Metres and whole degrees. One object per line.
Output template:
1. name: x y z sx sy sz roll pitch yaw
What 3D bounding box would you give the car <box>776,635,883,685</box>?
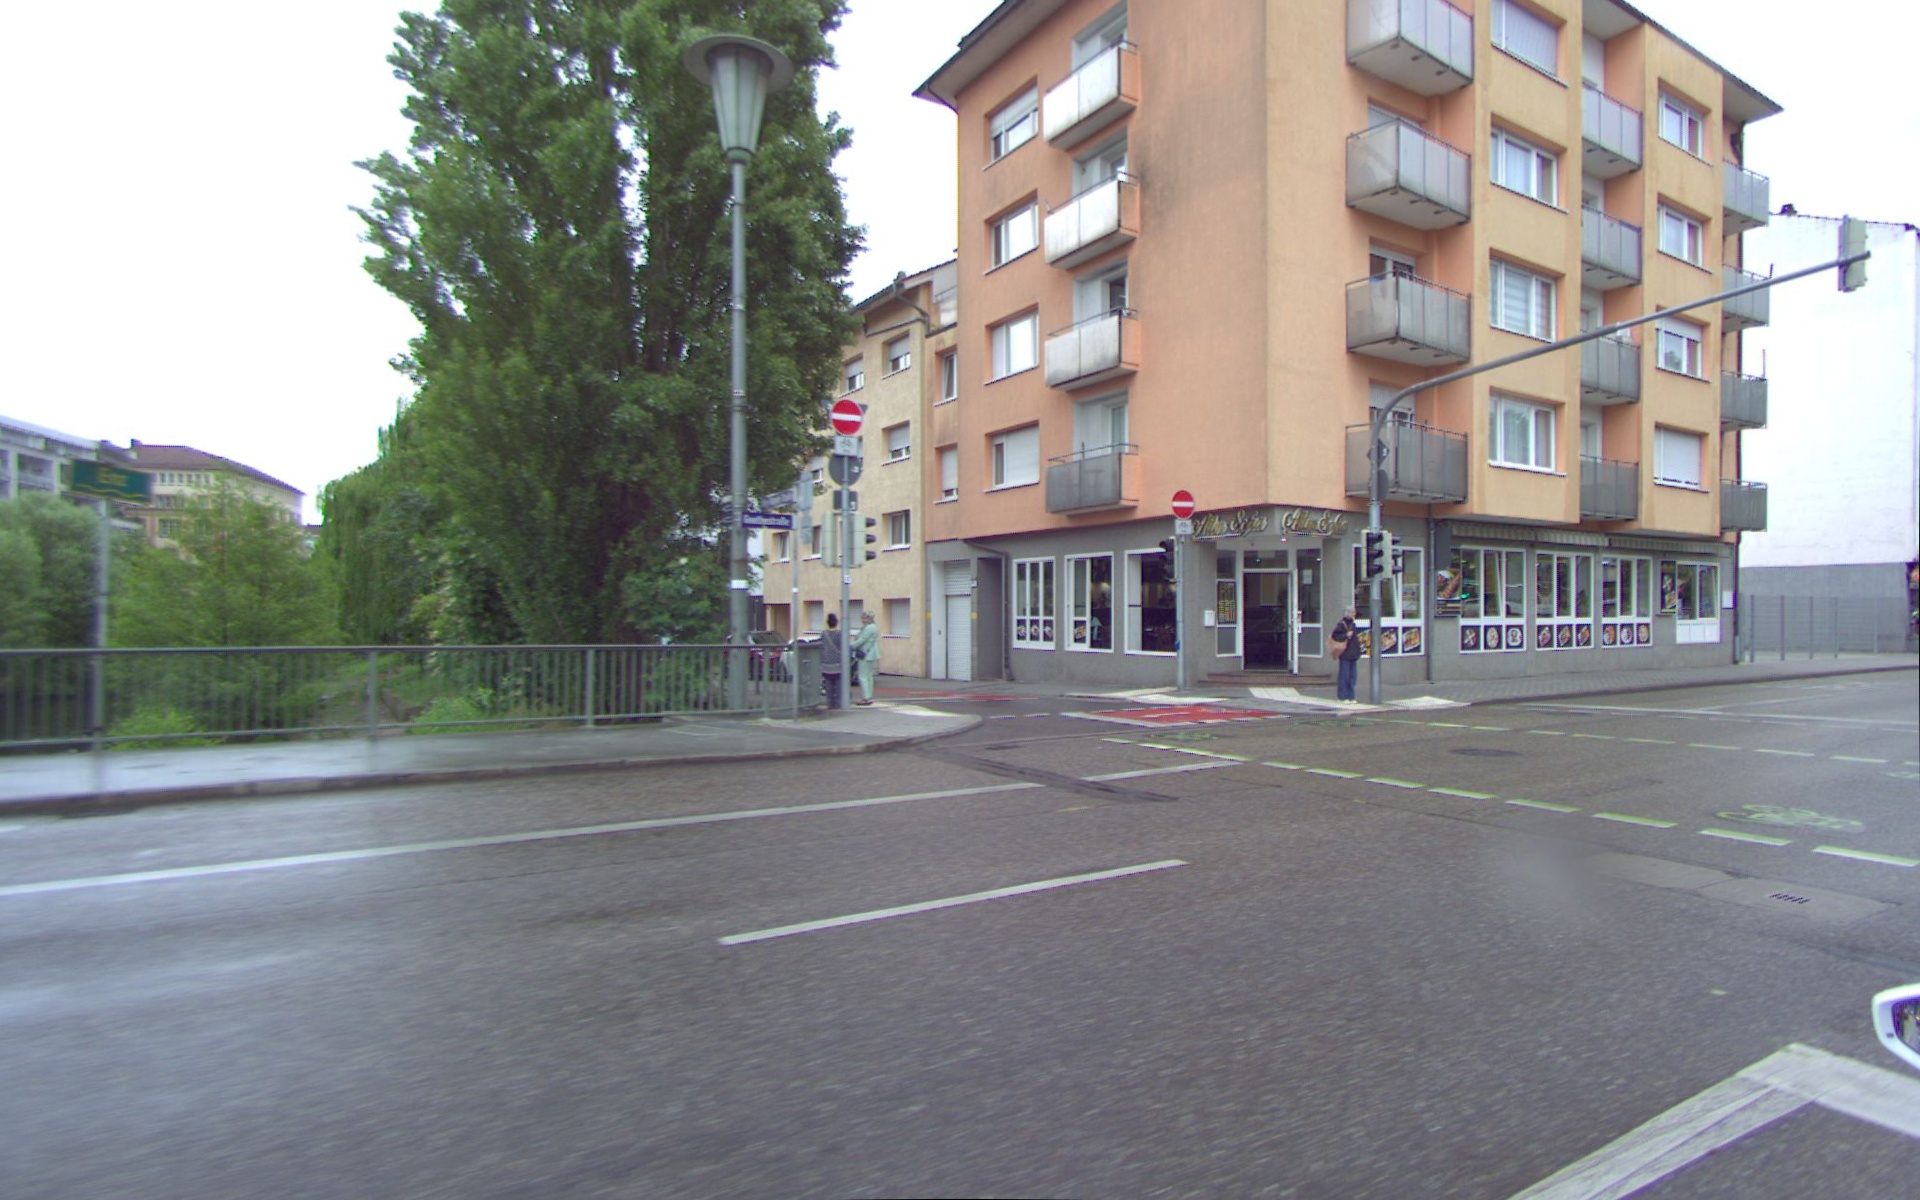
1. car: -4.092 1.793 31.044 1.877 1.406 3.968 0 -2 -31

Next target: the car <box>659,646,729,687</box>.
1. car: -11.351 2.784 42.693 1.877 1.406 3.967 1 0 -31

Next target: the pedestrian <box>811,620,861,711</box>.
1. pedestrian: -2.071 1.090 16.801 0.785 1.464 0.653 1 -2 -7

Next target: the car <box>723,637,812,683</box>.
1. car: -6.851 2.065 35.471 1.877 1.406 3.967 0 0 -31

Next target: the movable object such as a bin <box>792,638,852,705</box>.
1. movable object such as a bin: -2.417 1.249 17.684 0.866 1.126 0.800 1 -2 5

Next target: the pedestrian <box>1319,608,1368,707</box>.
1. pedestrian: 6.932 1.015 18.162 0.640 1.750 0.528 0 0 -28

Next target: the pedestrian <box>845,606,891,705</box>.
1. pedestrian: -1.603 0.967 17.612 0.609 1.685 0.800 1 -2 6
